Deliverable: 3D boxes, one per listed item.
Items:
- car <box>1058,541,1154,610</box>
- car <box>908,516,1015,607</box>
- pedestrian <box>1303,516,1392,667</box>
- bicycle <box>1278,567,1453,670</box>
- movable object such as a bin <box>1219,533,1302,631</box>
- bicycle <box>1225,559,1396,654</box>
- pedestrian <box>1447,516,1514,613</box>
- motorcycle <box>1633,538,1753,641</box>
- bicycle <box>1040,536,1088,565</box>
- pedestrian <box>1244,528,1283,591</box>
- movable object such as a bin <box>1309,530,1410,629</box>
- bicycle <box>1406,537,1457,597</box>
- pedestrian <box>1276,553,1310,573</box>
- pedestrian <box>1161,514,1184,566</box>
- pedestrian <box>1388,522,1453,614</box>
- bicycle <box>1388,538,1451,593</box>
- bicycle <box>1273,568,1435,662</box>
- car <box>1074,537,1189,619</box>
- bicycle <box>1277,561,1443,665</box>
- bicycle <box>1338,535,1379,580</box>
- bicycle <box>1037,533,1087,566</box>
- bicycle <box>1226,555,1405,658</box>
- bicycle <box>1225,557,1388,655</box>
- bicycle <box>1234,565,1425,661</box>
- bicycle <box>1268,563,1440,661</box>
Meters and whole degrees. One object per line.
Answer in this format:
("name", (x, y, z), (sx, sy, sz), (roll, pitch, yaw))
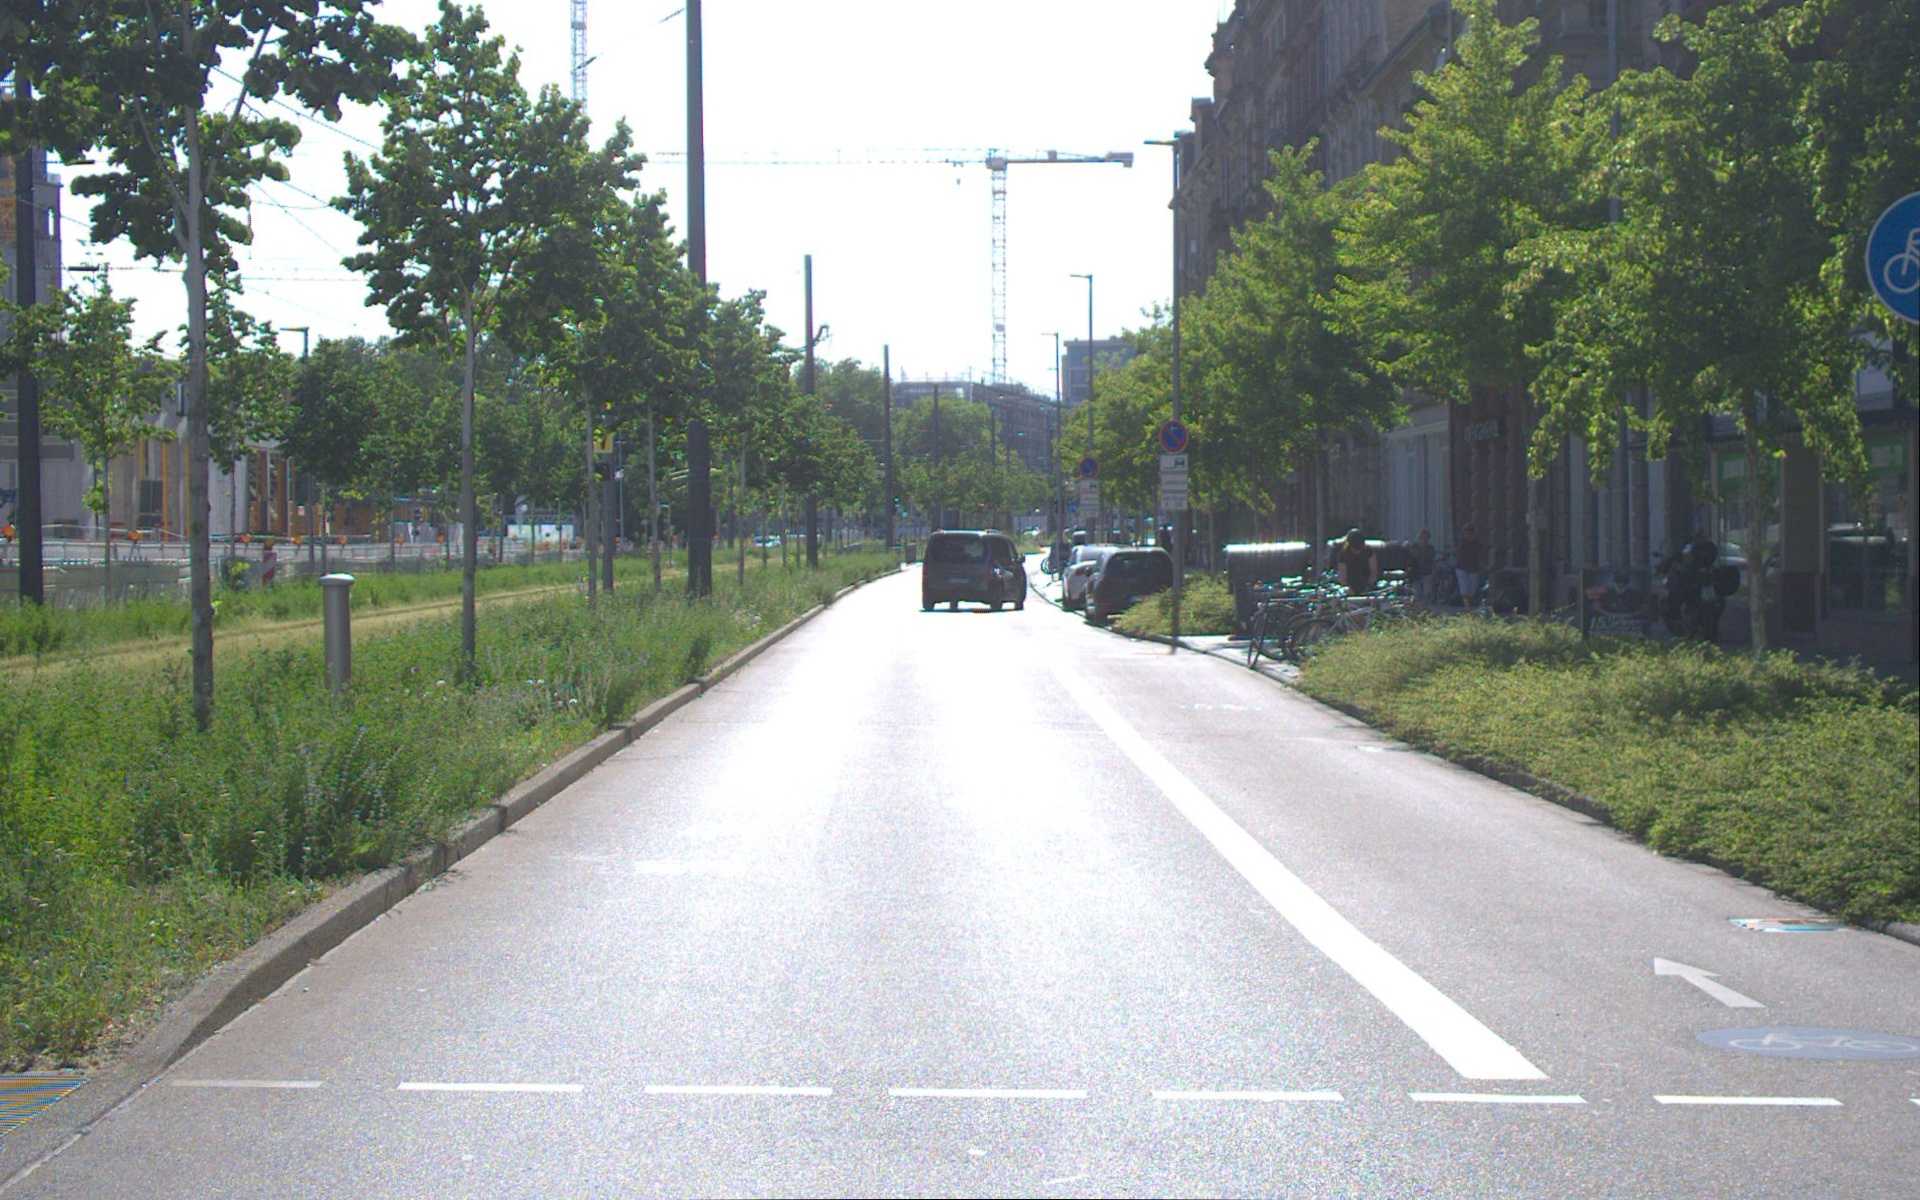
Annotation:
("car", (3.374, -0.589, 80.264), (1.951, 1.490, 5.105), (-2, 1, 0))
("car", (0.063, -0.881, 78.723), (1.994, 2.007, 3.999), (1, 1, 6))
("pedestrian", (4.649, -0.111, 41.297), (0.900, 1.730, 0.849), (-4, 1, 4))
("bicycle", (4.668, 0.207, 39.617), (1.891, 1.105, 0.518), (-2, 1, -5))
("movable object such as a bin", (4.767, -0.300, 54.677), (1.271, 1.458, 1.644), (1, 3, 4))
("bicycle", (4.480, 0.078, 44.026), (2.043, 1.103, 0.611), (-3, 1, -6))
("pedestrian", (9.038, -0.624, 59.686), (0.971, 1.633, 0.992), (-1, 2, 0))
("motorcycle", (9.434, -0.146, 44.368), (0.866, 1.262, 2.982), (1, 1, -1))
("bicycle", (4.201, -1.984, 139.156), (1.824, 1.075, 0.665), (-3, 1, -6))
("pedestrian", (8.546, -1.140, 96.848), (0.996, 1.725, 0.866), (1, 0, 0))
("movable object such as a bin", (6.363, -0.335, 54.850), (1.373, 1.490, 1.749), (-3, 0, 1))
("bicycle", (9.570, -0.671, 69.818), (0.748, 1.197, 1.801), (-1, 1, 0))
("pedestrian", (9.772, -1.079, 100.845), (0.773, 0.551, 2.008), (-1, 2, 0))
("pedestrian", (8.560, -2.414, 138.601), (0.817, 2.007, 1.046), (1, -1, 0))
("pedestrian", (7.980, -0.561, 59.620), (0.950, 1.561, 1.080), (-1, 2, -1))
("bicycle", (9.727, -0.733, 72.883), (0.875, 1.101, 2.182), (-3, 1, -3))
("bicycle", (4.700, 0.177, 41.090), (1.814, 1.052, 0.572), (-2, 1, -6))
("car", (3.331, -0.434, 67.557), (1.765, 1.472, 4.449), (-3, 1, -3))
("bicycle", (4.644, 0.144, 39.970), (1.866, 1.175, 0.374), (-1, 0, -3))
("bicycle", (9.727, -1.046, 84.033), (0.721, 1.086, 2.198), (-1, 1, 0))
("bicycle", (4.074, -2.033, 137.621), (1.878, 1.229, 0.500), (-3, 1, -5))
("bicycle", (4.438, 0.072, 42.942), (2.146, 1.150, 0.429), (-4, 1, -13))
("bicycle", (4.471, 0.076, 44.434), (1.974, 1.120, 0.482), (-4, 2, -5))
("bicycle", (4.581, 0.155, 42.598), (2.284, 1.098, 0.486), (-2, 1, -14))
("bicycle", (4.740, 0.141, 41.433), (1.977, 1.104, 0.435), (-2, 1, -3))
